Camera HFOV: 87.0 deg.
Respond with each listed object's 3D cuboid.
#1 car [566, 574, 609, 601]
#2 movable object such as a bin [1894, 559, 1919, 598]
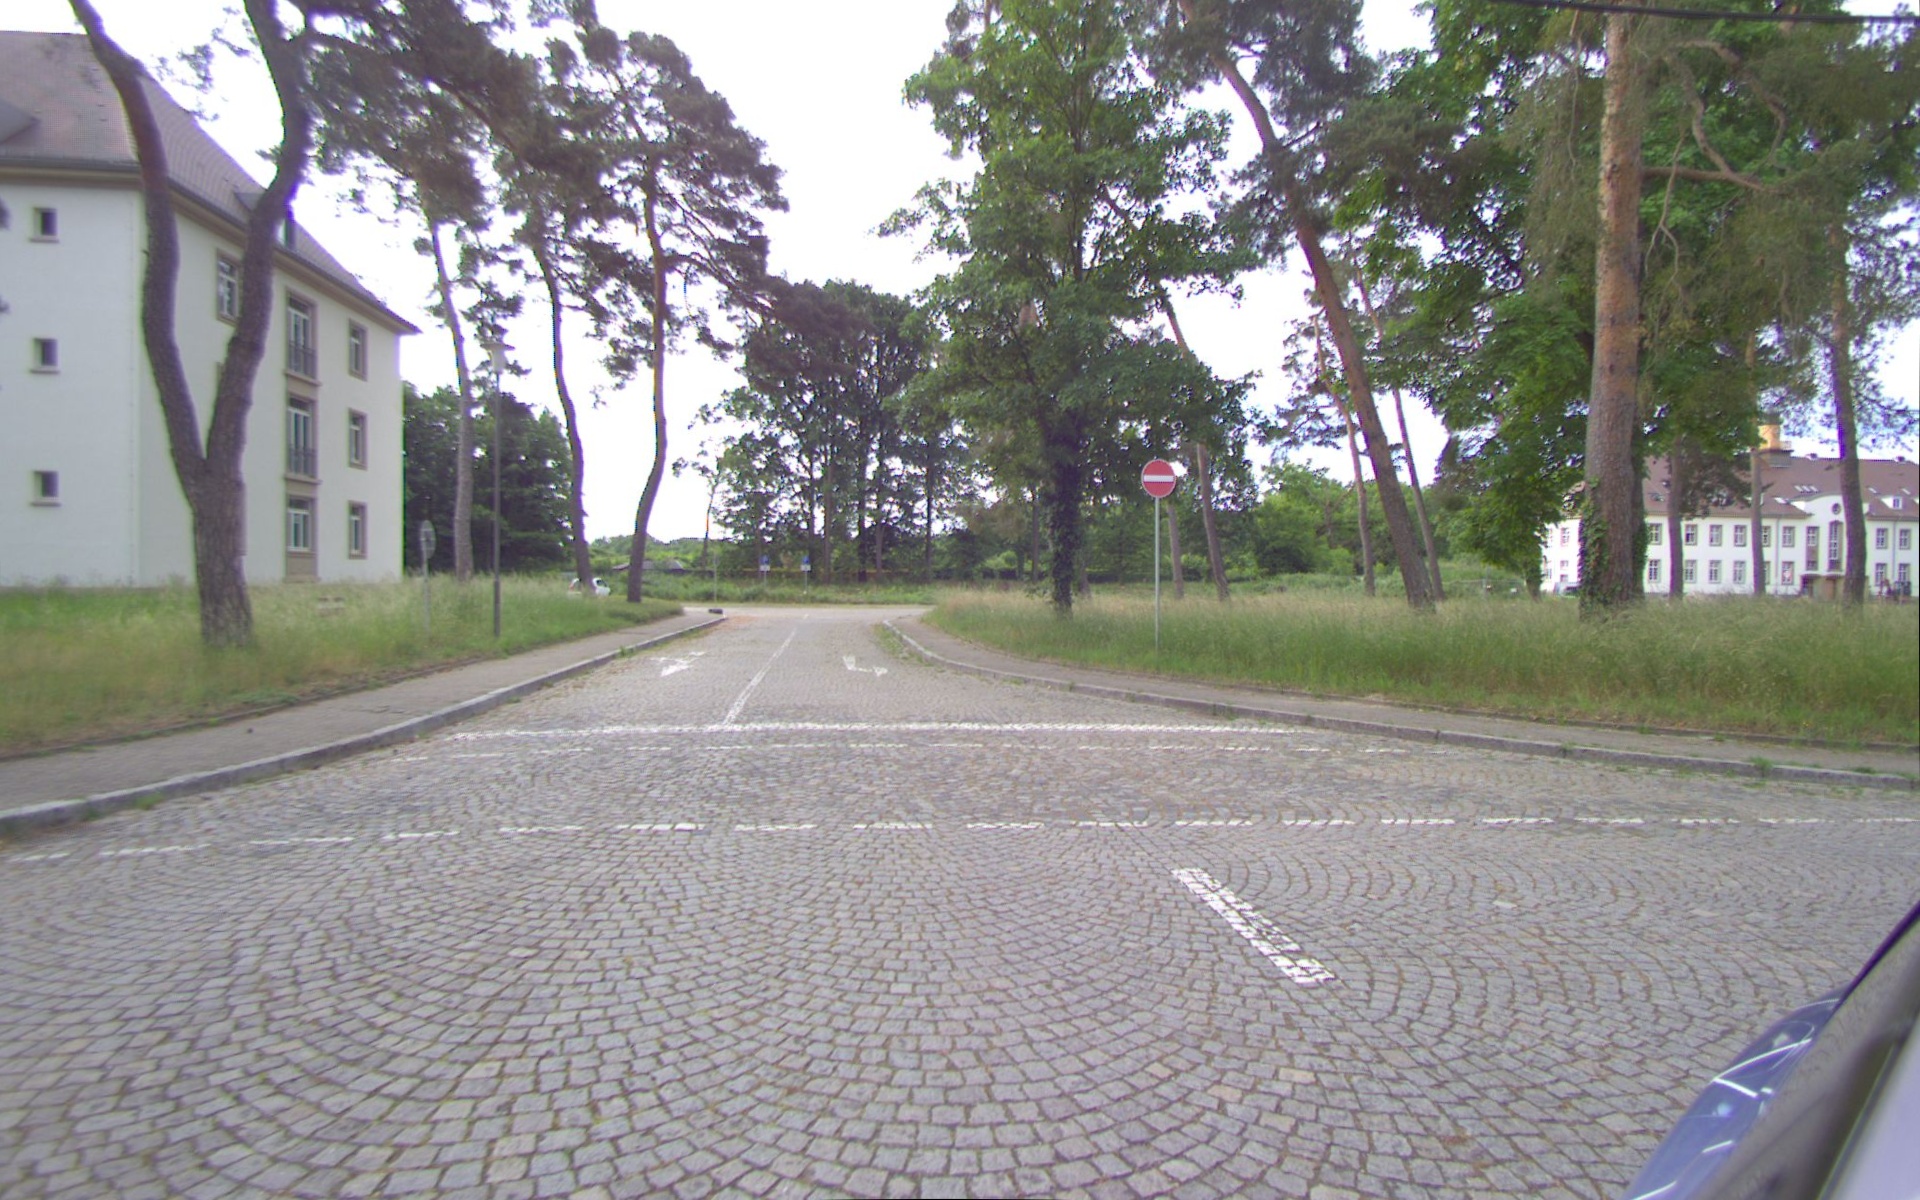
[{"bbox_3d":[-20.615,-0.662,56.090,1.458,1.455,3.199,0,0,-6],"label":"car"},{"bbox_3d":[97.077,-2.163,101.231,2.012,3.817,5.467,0,0,-3],"label":"movable object such as a bin"}]
